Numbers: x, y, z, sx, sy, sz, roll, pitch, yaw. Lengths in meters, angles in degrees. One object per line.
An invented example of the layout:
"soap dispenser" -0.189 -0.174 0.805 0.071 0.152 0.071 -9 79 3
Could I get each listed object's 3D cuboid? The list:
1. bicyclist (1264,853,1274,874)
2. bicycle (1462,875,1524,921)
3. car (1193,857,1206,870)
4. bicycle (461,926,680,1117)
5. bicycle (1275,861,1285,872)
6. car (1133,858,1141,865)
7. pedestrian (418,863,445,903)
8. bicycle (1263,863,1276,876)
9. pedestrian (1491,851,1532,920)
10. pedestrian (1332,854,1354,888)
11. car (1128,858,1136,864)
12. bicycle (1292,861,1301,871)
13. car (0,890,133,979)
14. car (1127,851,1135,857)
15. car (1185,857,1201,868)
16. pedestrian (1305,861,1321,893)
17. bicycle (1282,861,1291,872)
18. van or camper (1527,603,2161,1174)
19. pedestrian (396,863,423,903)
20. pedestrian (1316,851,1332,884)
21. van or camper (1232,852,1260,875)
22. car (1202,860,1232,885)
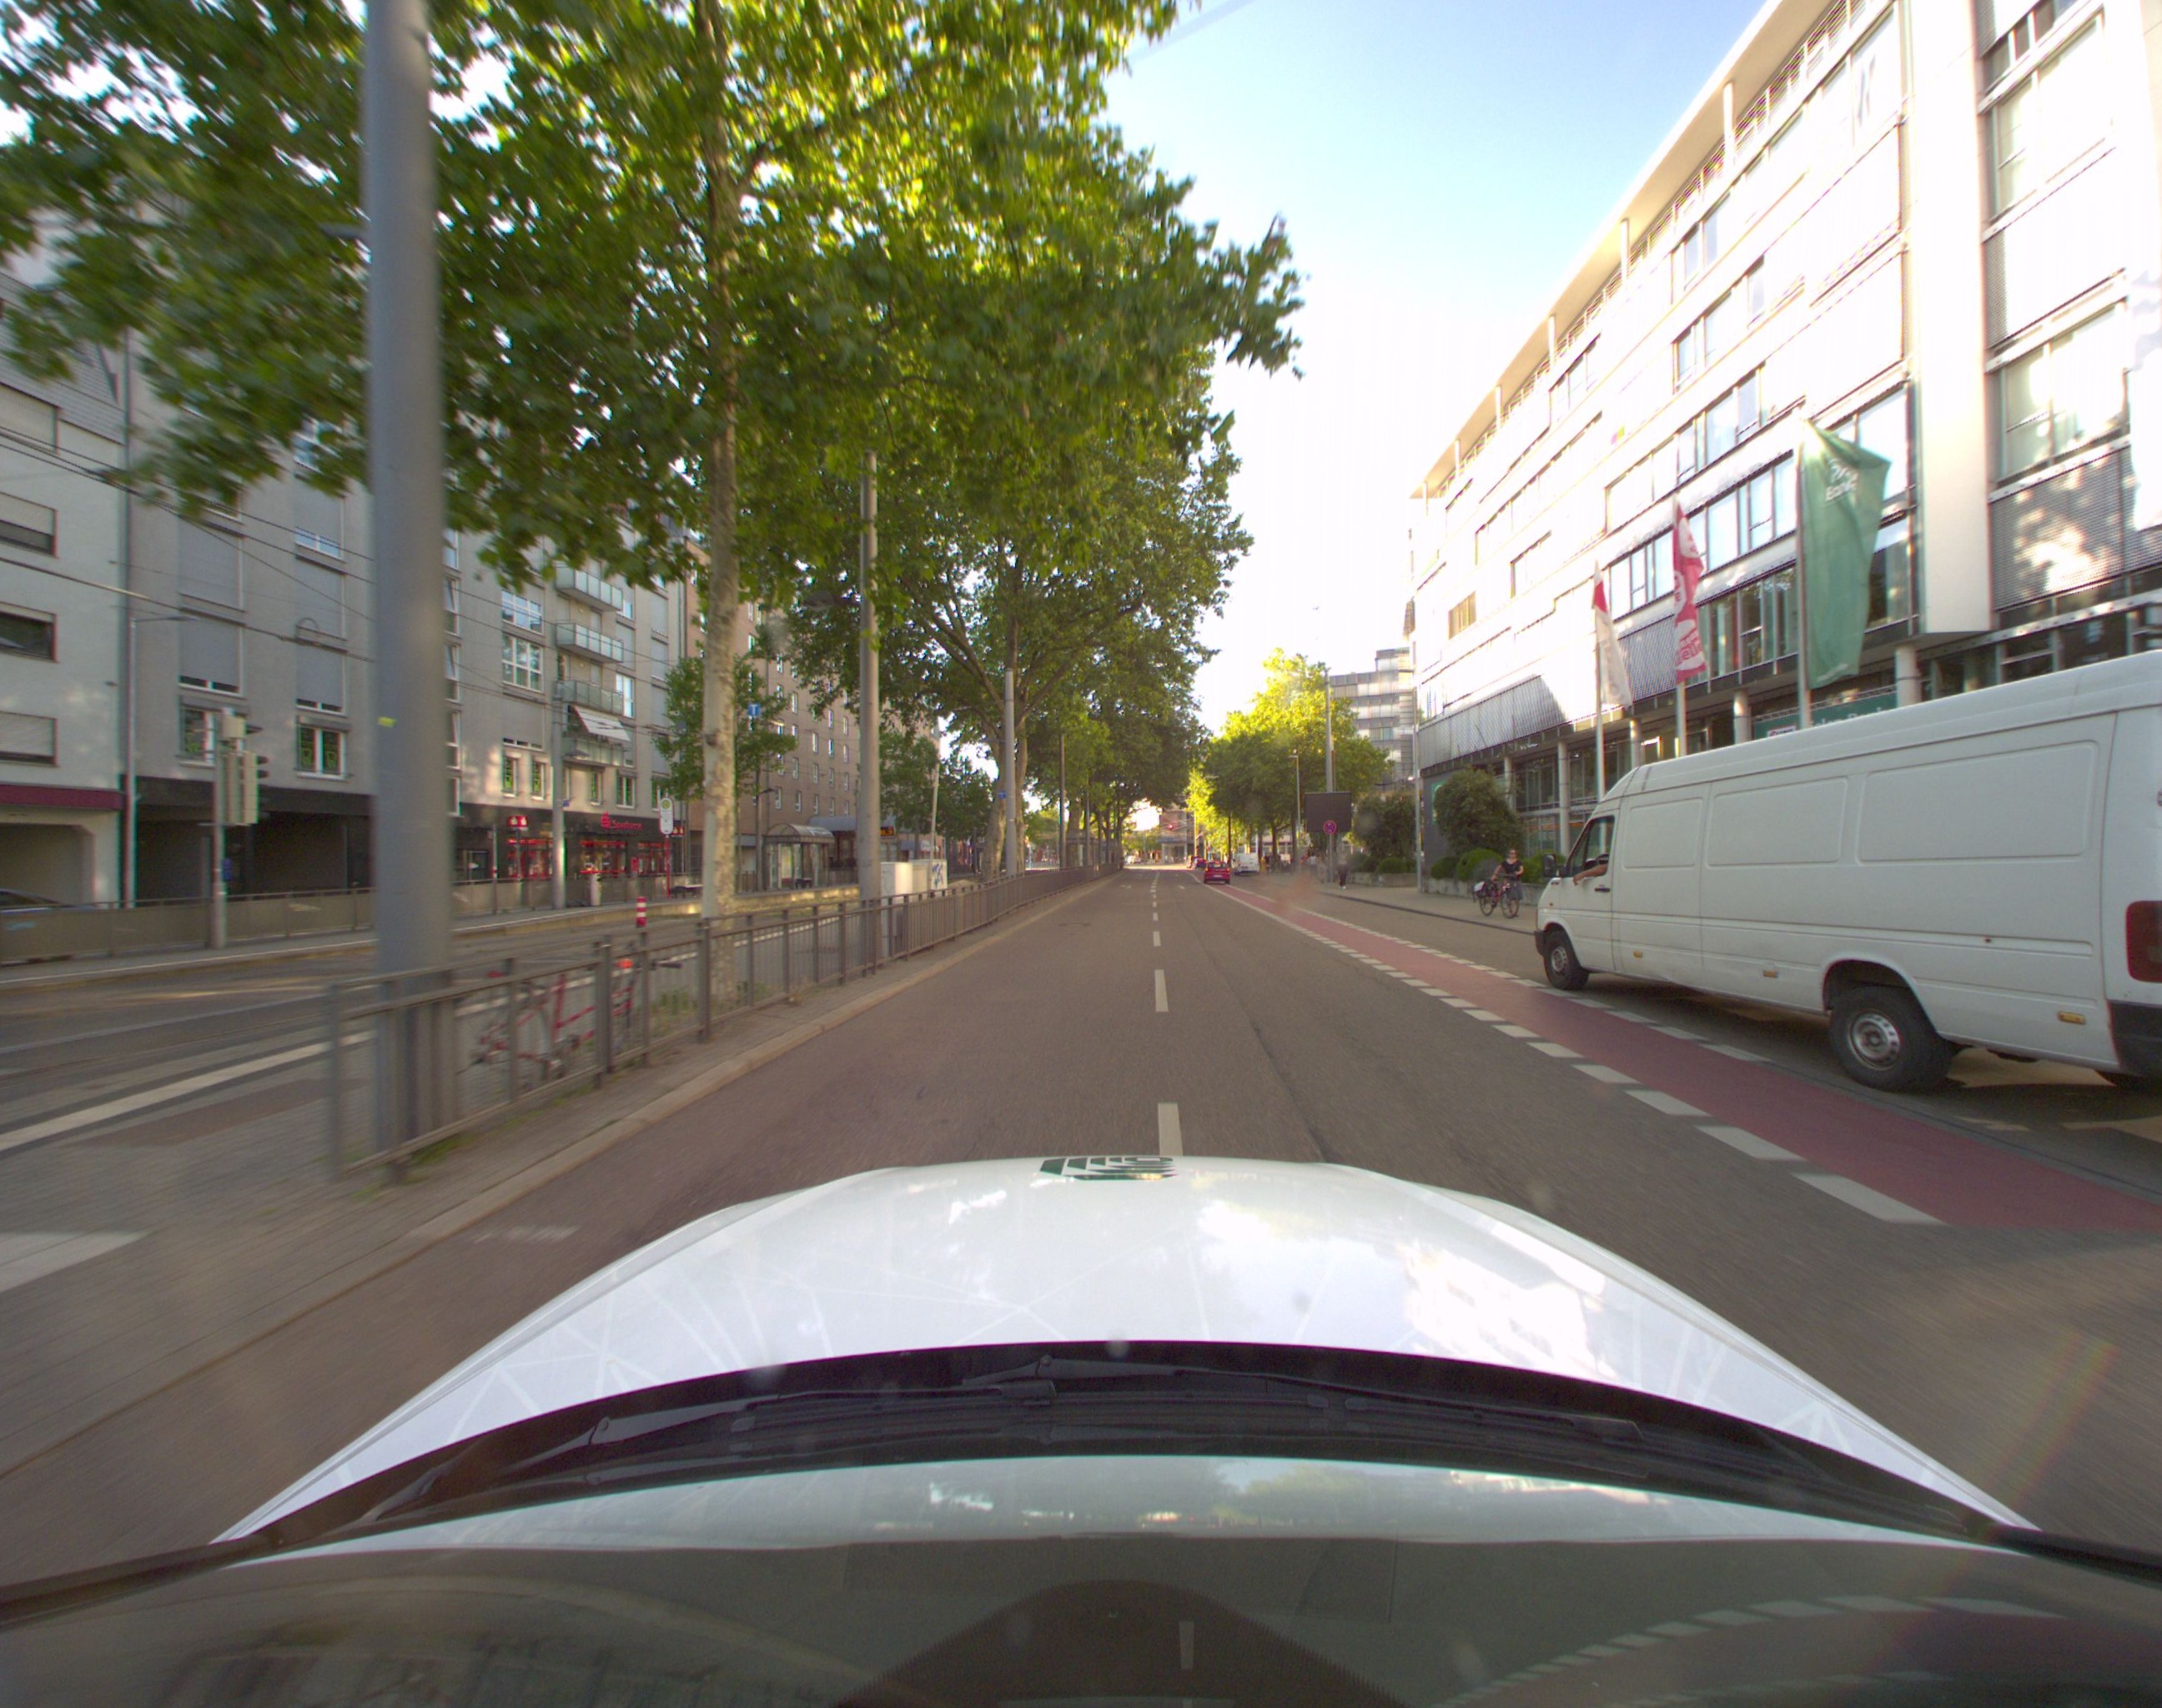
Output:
"bicyclist" 15.938 0.810 68.940 0.647 1.702 0.953 -1 -1 4
"bicycle" 10.198 1.071 20.243 0.518 0.975 2.204 -5 0 5
"car" 16.044 1.279 110.161 1.627 1.800 3.336 -1 0 7
"bicycle" -3.326 1.043 5.448 0.393 0.949 1.355 -1 2 10
"bicycle" 18.985 1.199 77.784 0.583 1.067 1.902 -2 -1 4
"car" 13.583 1.850 198.268 1.772 1.535 3.411 0 0 0
"pedestrian" -24.945 1.116 31.278 0.532 1.494 0.588 -1 -1 1
"bicycle" 15.933 1.318 68.830 0.680 1.067 2.472 -2 -1 4
"pedestrian" 10.643 0.764 20.145 0.643 1.680 0.652 -1 -1 4
"pedestrian" 12.460 0.809 38.722 0.640 1.579 0.722 -5 -1 -3
"car" 12.838 1.667 204.943 1.772 1.535 3.411 0 0 0
"bicycle" 20.589 1.147 77.699 0.501 0.982 1.769 -2 -1 4
"car" -18.818 1.385 13.045 1.693 1.399 4.654 -1 0 2
"car" 12.906 0.040 210.987 1.772 1.588 3.411 0 0 0
"car" 15.975 1.261 116.087 1.772 1.535 3.512 0 0 0
"pedestrian" 12.994 1.272 45.661 0.562 1.702 0.907 -4 -1 3
"bicycle" 19.623 1.193 77.755 0.465 0.982 1.769 -2 -1 4
"van or camper" 6.315 0.166 6.884 1.960 2.716 6.311 0 0 3
"pedestrian" -25.703 1.114 31.170 0.532 1.494 0.588 -1 -1 1
"pedestrian" 13.612 0.768 45.656 0.538 1.796 0.907 -4 -1 3
"van or camper" 14.701 0.832 72.635 1.983 1.989 4.752 -1 -1 6
"car" 8.718 1.139 52.328 1.605 1.535 3.416 0 0 5
